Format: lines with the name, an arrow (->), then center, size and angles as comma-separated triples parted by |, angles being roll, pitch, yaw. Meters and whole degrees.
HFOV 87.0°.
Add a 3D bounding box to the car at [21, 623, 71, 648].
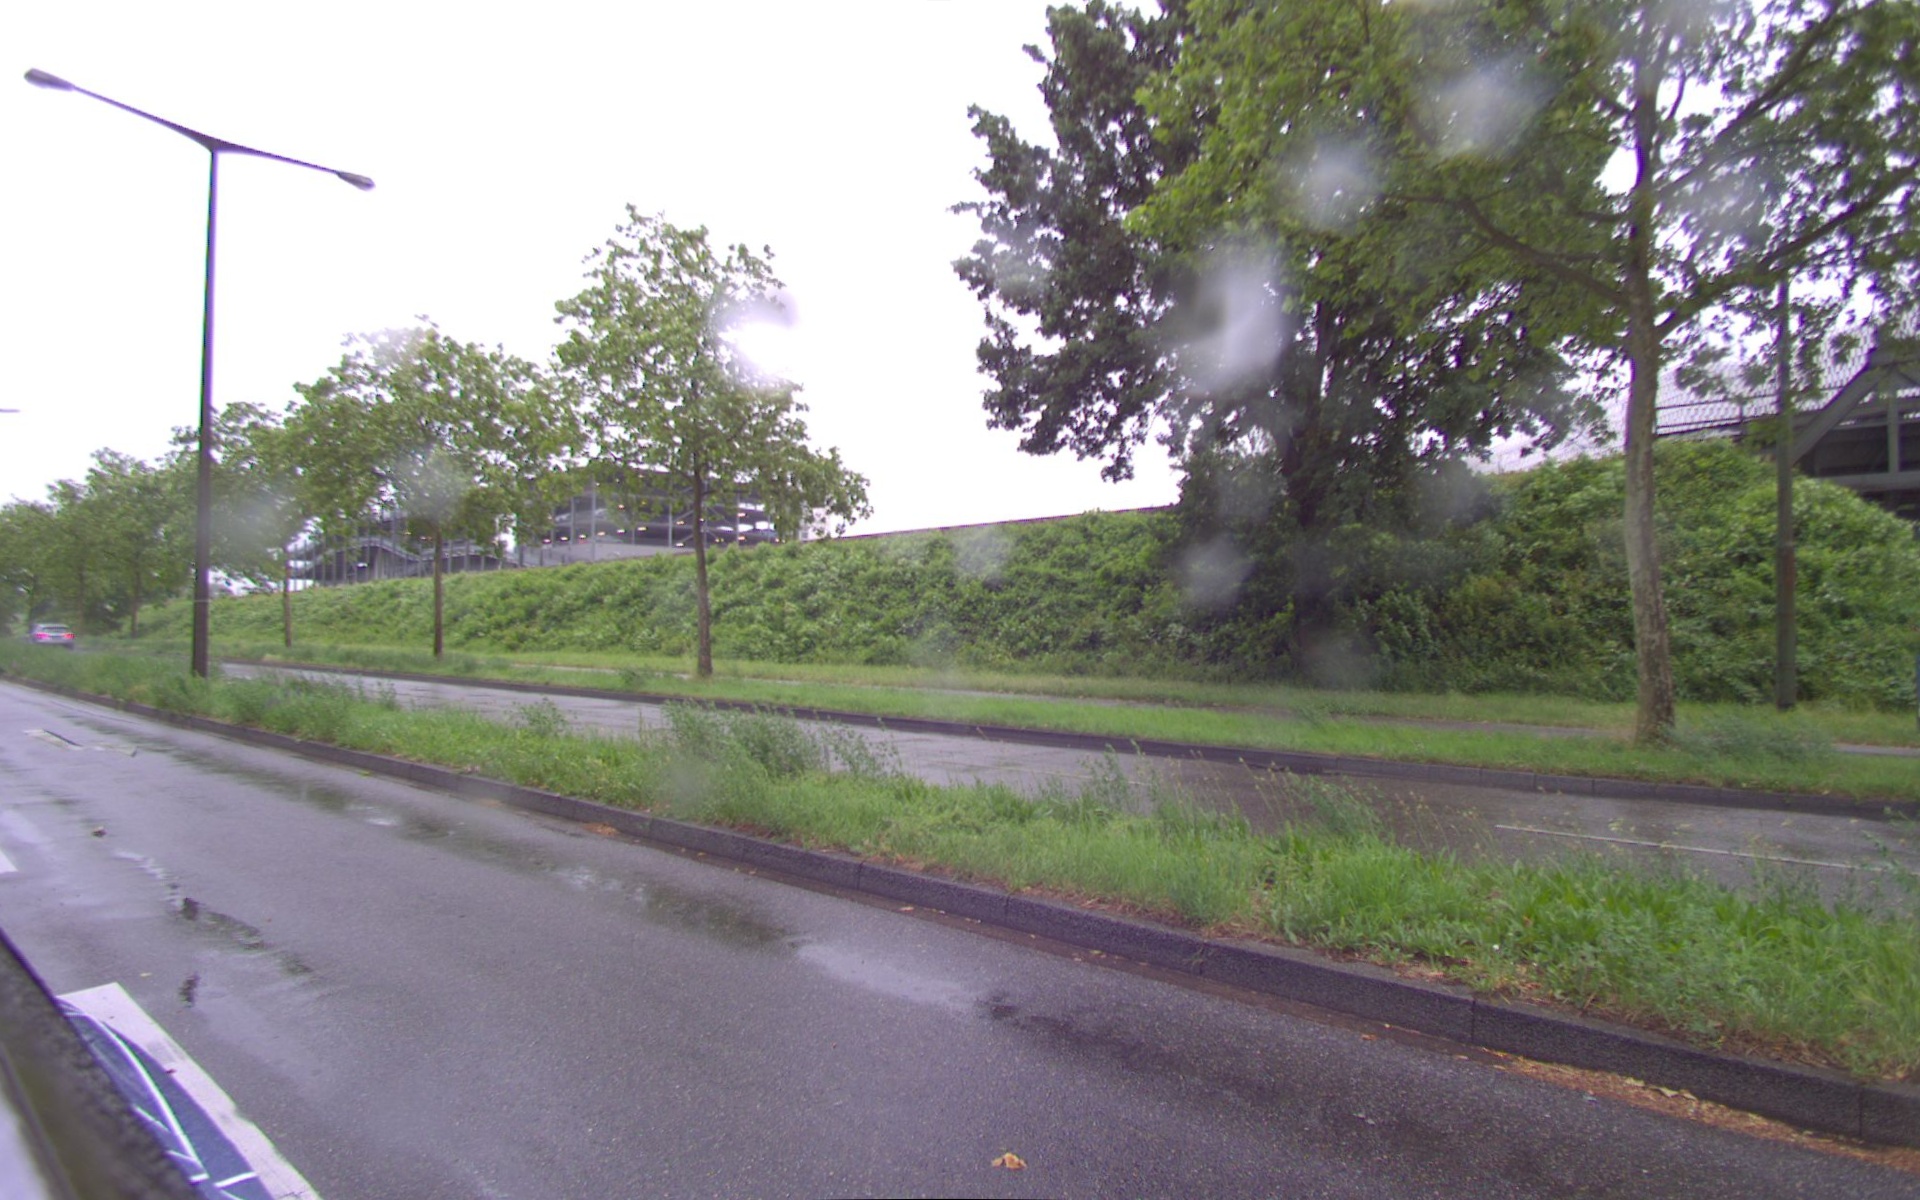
car -> -55.546, 2.158, 61.471 | 4.089, 1.476, 1.702 | -1, -3, 40
